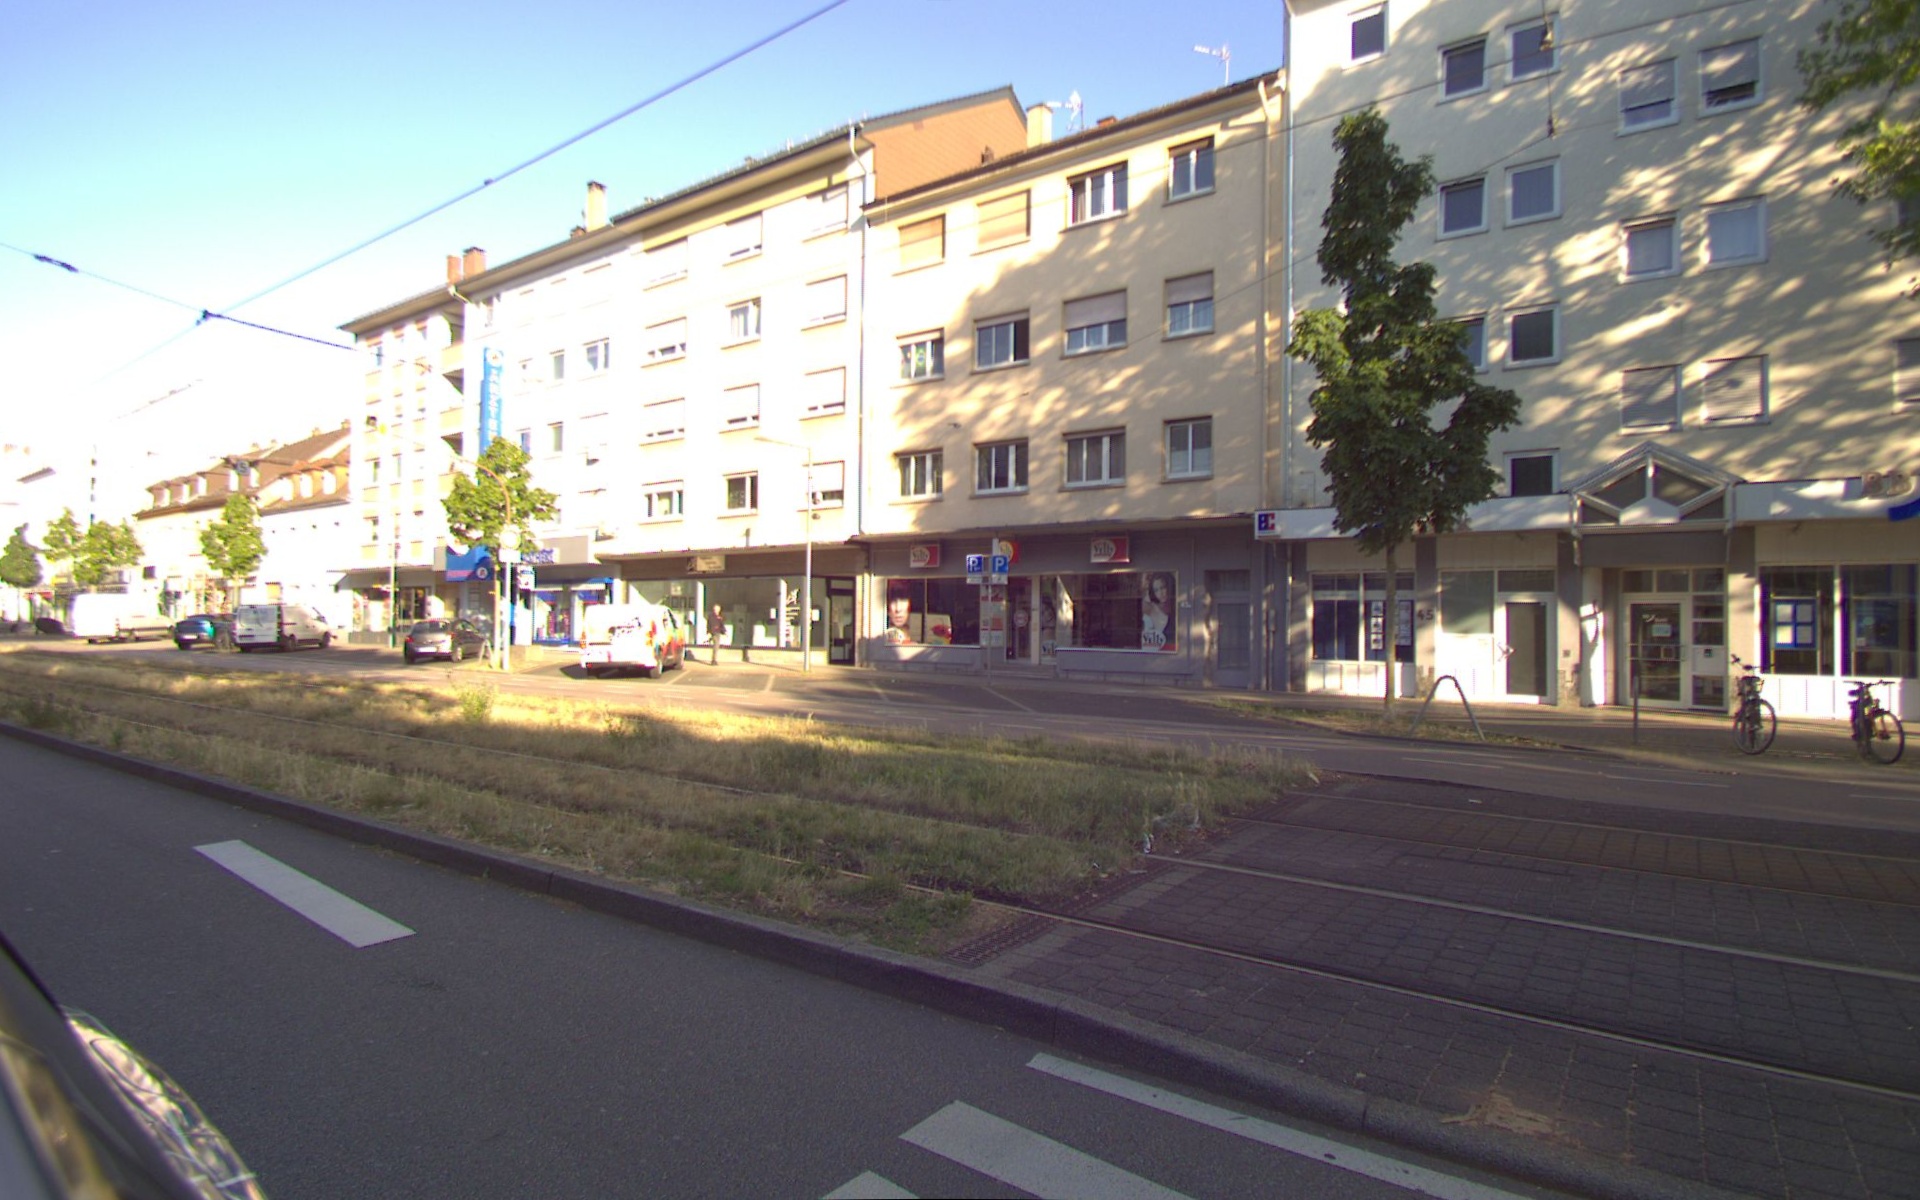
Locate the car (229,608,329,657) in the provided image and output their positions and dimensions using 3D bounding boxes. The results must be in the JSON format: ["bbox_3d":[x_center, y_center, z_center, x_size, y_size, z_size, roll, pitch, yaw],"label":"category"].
[{"bbox_3d":[-28.636,1.307,42.737,1.828,1.952,4.514,0,0,-10],"label":"car"}]

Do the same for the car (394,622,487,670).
[{"bbox_3d":[-17.567,1.519,34.398,1.708,1.450,4.009,0,0,-10],"label":"car"}]

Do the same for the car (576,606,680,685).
[{"bbox_3d":[-8.784,1.151,27.125,1.830,1.913,4.005,0,0,-6],"label":"car"}]

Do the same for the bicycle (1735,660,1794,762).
[{"bbox_3d":[10.297,1.385,12.984,0.511,1.147,1.724,-1,-1,36],"label":"bicycle"}]

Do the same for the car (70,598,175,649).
[{"bbox_3d":[-45.440,1.219,55.107,1.895,2.634,6.608,0,0,-16],"label":"car"}]

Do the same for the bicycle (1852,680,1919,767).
[{"bbox_3d":[11.397,1.488,12.451,0.471,0.895,1.724,-1,-1,36],"label":"bicycle"}]

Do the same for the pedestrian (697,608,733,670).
[{"bbox_3d":[-7.434,1.161,30.690,0.746,1.841,0.918,1,-1,-41],"label":"pedestrian"}]

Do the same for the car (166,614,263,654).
[{"bbox_3d":[-34.284,1.511,46.654,1.830,1.727,3.919,0,0,-4],"label":"car"}]
